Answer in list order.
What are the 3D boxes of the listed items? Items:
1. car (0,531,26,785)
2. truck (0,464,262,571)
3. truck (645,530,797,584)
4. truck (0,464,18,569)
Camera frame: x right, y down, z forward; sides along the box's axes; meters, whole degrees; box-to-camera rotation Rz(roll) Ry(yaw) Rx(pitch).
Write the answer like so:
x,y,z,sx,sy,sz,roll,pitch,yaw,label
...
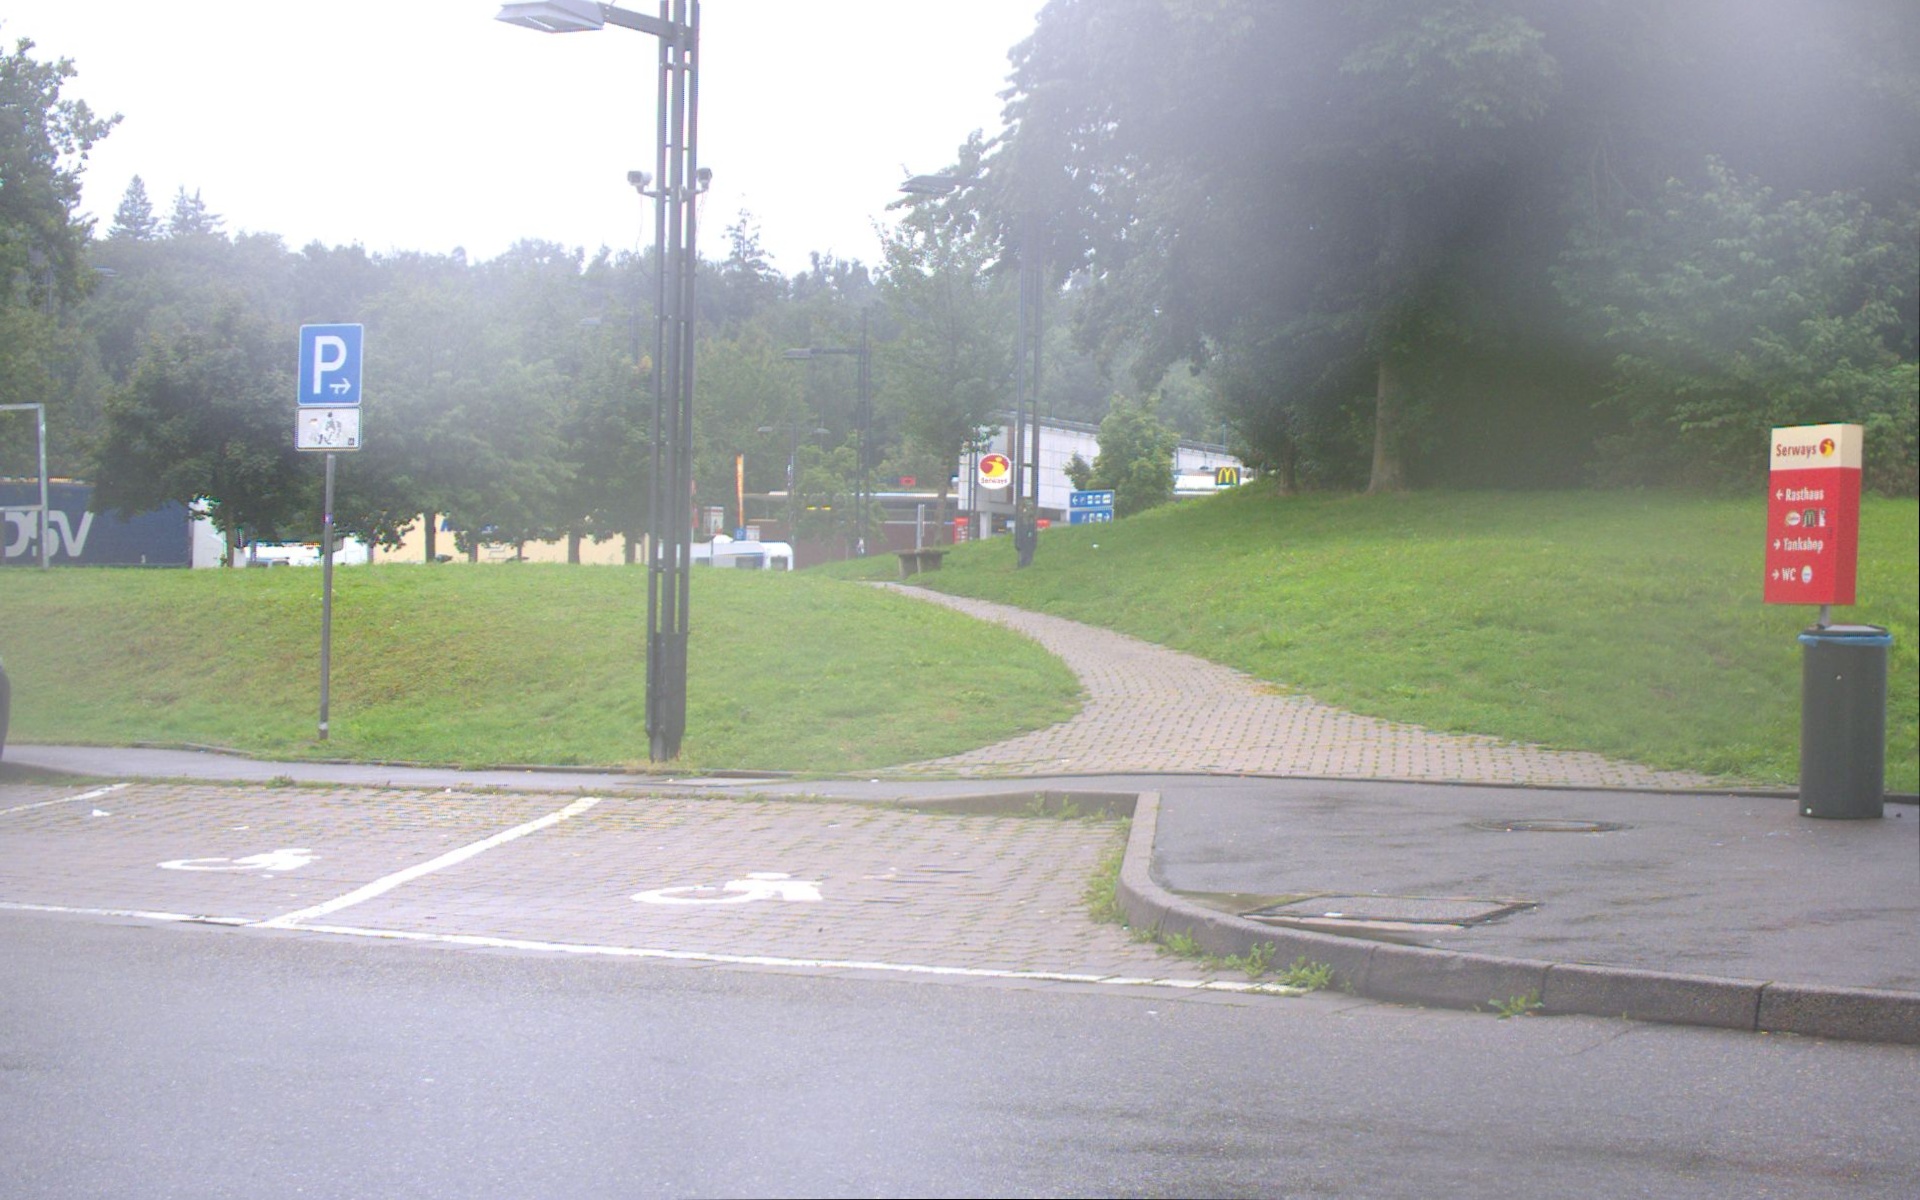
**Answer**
x,y,z,sx,sy,sz,roll,pitch,yaw,label
-7.802,0.453,21.490,2.018,1.705,4.341,-1,1,12,car
-25.460,-2.369,101.629,2.188,2.910,13.082,1,1,24,truck
-9.320,-1.669,133.805,5.413,2.007,2.364,1,1,25,truck
-28.599,-2.344,94.659,2.189,2.910,5.380,1,1,24,truck
